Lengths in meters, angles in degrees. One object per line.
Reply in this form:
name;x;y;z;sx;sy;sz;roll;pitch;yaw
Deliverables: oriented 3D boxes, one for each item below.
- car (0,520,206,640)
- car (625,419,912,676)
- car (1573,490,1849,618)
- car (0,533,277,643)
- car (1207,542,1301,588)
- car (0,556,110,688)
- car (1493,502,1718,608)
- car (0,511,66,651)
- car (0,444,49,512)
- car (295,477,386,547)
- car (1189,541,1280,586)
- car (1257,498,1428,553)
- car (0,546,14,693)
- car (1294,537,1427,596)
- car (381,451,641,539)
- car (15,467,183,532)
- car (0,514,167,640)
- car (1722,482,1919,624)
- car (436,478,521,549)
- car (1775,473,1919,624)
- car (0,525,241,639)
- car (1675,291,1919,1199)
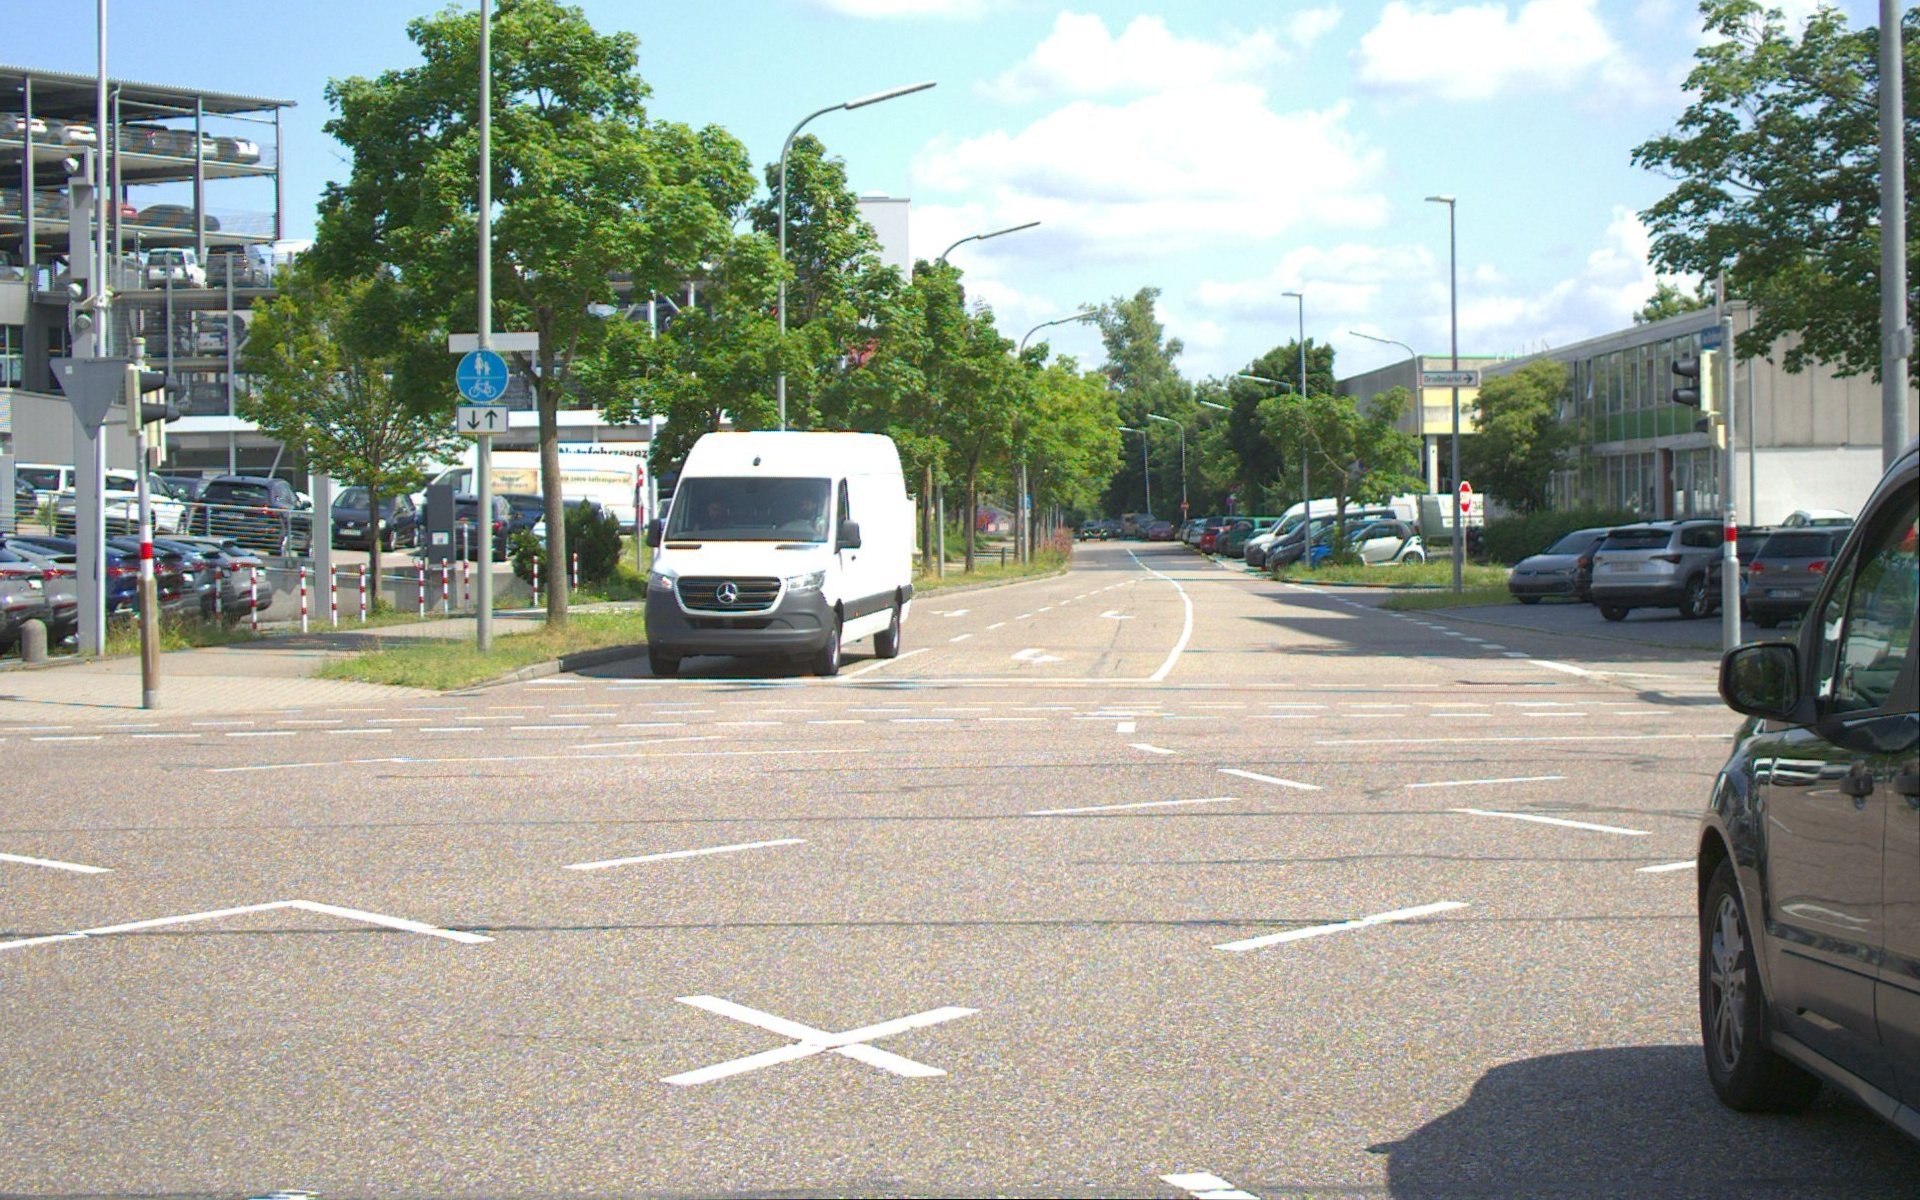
car;-13.490;-0.299;50.052;4.575;1.672;1.907;1;0;1
car;-2.012;-0.534;38.652;2.133;2.598;6.862;1;0;6
car;12.291;-0.737;56.426;3.986;2.007;2.000;1;0;-4
car;-13.487;-0.194;55.348;4.575;1.672;1.907;1;0;1
car;13.434;-1.583;157.352;3.986;2.007;2.000;1;0;-4
car;-13.581;0.253;44.657;4.575;1.672;1.907;1;0;1
car;12.778;-0.878;68.212;3.986;2.007;2.000;1;0;-4
car;-13.506;-0.257;42.114;4.575;1.672;1.907;1;0;1
car;-23.670;-2.897;81.154;3.986;1.547;1.765;1;0;-8
car;-14.553;-2.053;80.888;1.561;1.547;3.602;1;0;-2
car;12.872;-1.697;161.204;3.986;2.007;2.000;1;0;-4
car;14.745;-2.868;132.756;6.341;2.007;2.573;1;0;2
car;-13.231;0.188;38.758;4.575;1.672;1.907;1;0;1
car;12.537;-1.044;107.733;3.987;1.744;2.000;1;0;3
car;-11.403;-2.660;87.580;6.387;2.095;1.765;1;0;-1
car;-22.079;-2.564;88.276;3.986;1.547;1.765;1;0;-8
car;-13.437;-0.326;47.319;4.575;1.672;1.907;1;0;1
car;13.480;-0.664;50.579;3.986;2.007;2.000;1;0;-4
car;-11.203;-2.001;80.144;1.561;1.547;3.602;1;0;-2
car;13.431;-0.668;47.043;3.986;2.007;2.000;1;0;-4
car;-13.512;-0.285;52.645;4.575;1.672;1.907;1;0;1
car;2.696;0.379;6.893;1.823;1.898;4.000;0;0;2
